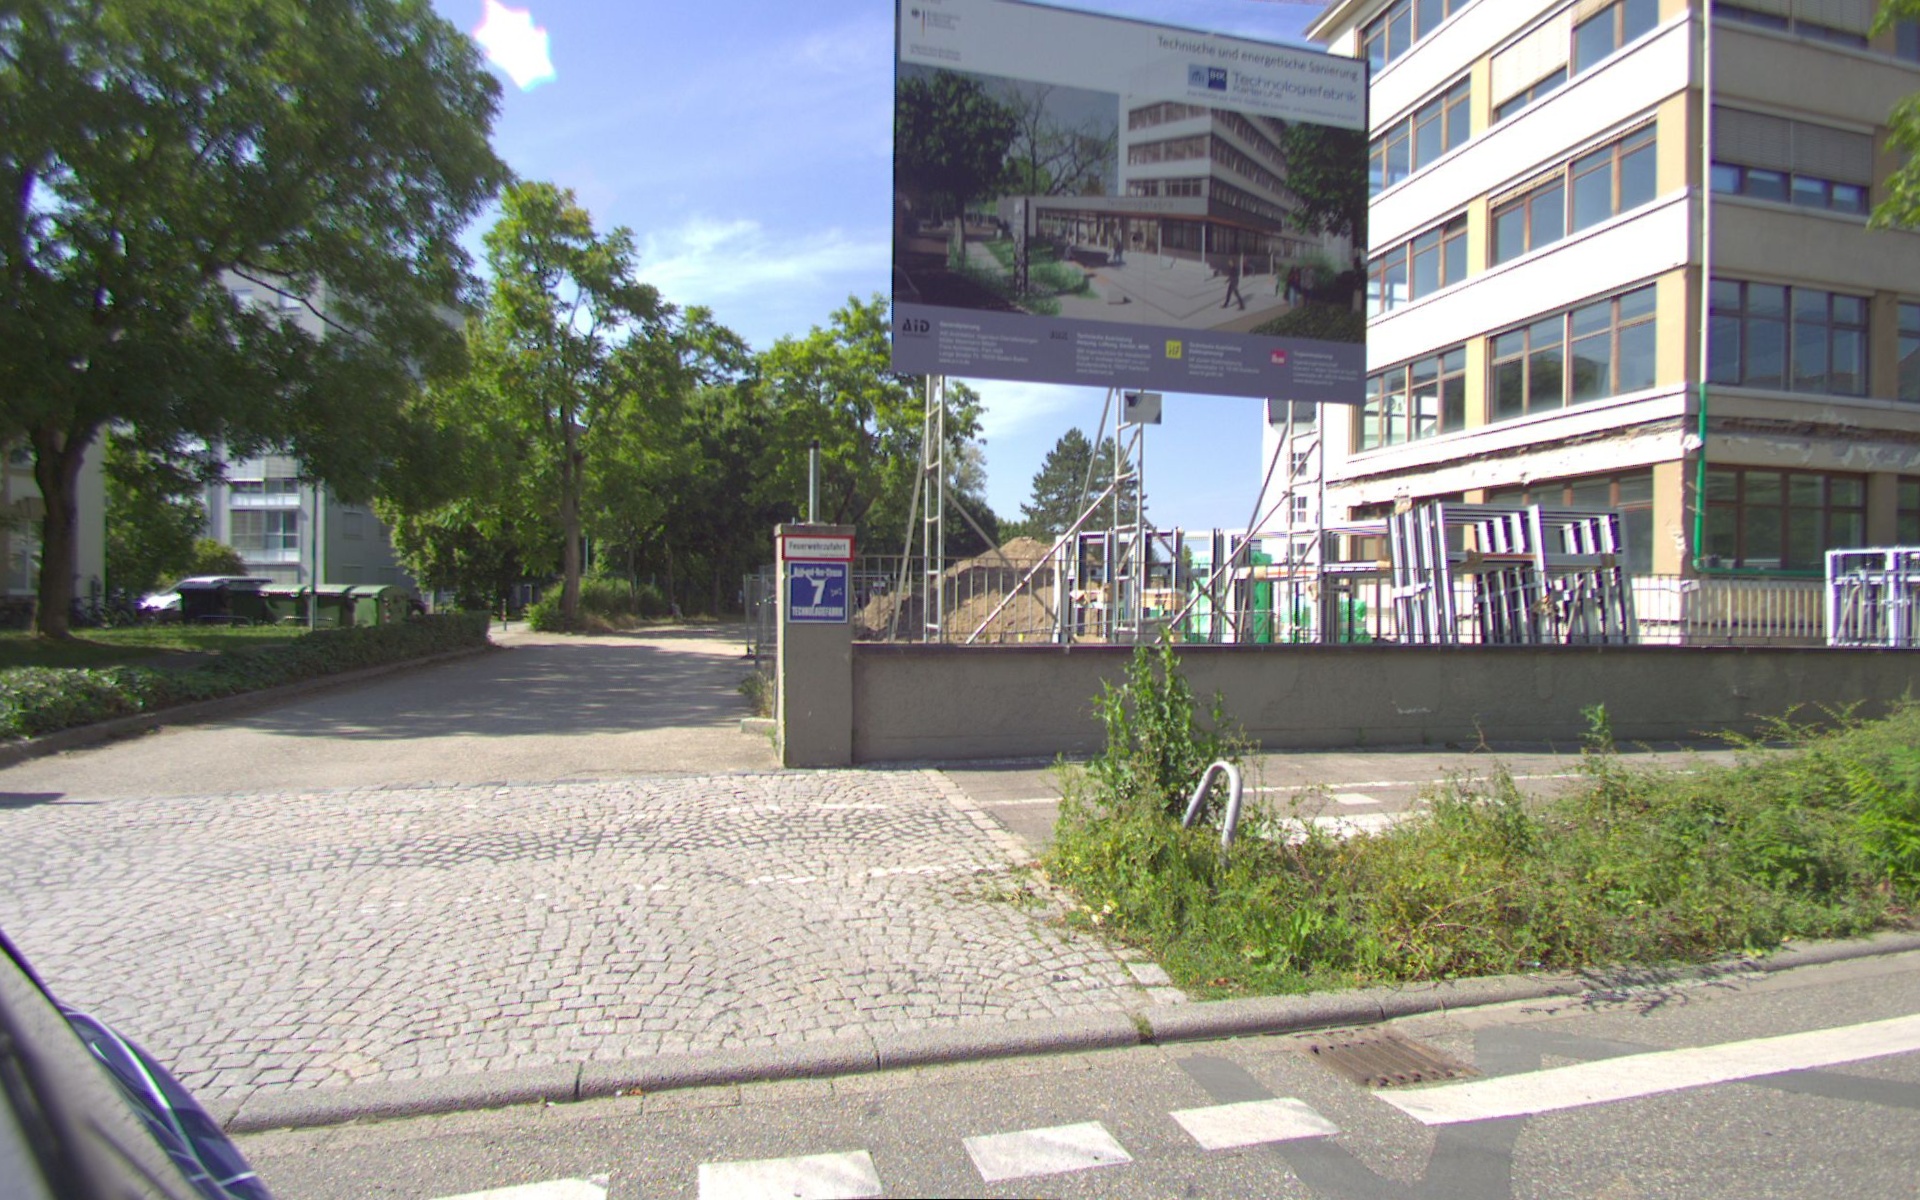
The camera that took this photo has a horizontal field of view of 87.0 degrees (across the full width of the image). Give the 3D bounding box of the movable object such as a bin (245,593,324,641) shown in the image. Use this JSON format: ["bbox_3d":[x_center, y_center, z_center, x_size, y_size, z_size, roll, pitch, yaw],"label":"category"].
[{"bbox_3d":[-19.711,0.482,29.566,1.484,1.372,1.212,1,0,8],"label":"movable object such as a bin"}]

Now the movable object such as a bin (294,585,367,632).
[{"bbox_3d":[-18.236,0.237,29.339,1.340,1.310,1.212,1,0,8],"label":"movable object such as a bin"}]

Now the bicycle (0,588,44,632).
[{"bbox_3d":[-26.064,0.263,27.622,1.902,1.170,0.586,1,0,12],"label":"bicycle"}]

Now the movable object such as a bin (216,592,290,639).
[{"bbox_3d":[-21.108,0.467,30.237,1.337,1.359,1.212,1,0,8],"label":"movable object such as a bin"}]

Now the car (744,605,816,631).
[{"bbox_3d":[-11.080,1.114,62.428,3.951,1.519,1.996,1,-1,7],"label":"car"}]

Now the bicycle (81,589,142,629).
[{"bbox_3d":[-25.476,0.250,30.381,1.789,1.170,0.504,1,0,17],"label":"bicycle"}]

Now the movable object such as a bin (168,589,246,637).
[{"bbox_3d":[-22.646,0.382,30.458,1.419,1.420,1.247,1,0,7],"label":"movable object such as a bin"}]

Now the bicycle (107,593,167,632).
[{"bbox_3d":[-25.126,0.368,30.908,1.932,1.170,0.553,0,0,22],"label":"bicycle"}]

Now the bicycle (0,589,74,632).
[{"bbox_3d":[-25.991,0.276,28.369,2.080,1.170,0.586,1,0,12],"label":"bicycle"}]

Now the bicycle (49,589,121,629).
[{"bbox_3d":[-25.749,0.260,29.780,1.832,1.170,0.611,1,0,12],"label":"bicycle"}]

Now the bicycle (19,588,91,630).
[{"bbox_3d":[-25.863,0.263,28.926,1.894,1.170,0.492,1,0,12],"label":"bicycle"}]

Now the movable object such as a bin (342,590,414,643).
[{"bbox_3d":[-16.770,0.465,29.173,1.384,1.474,1.206,0,0,23],"label":"movable object such as a bin"}]
